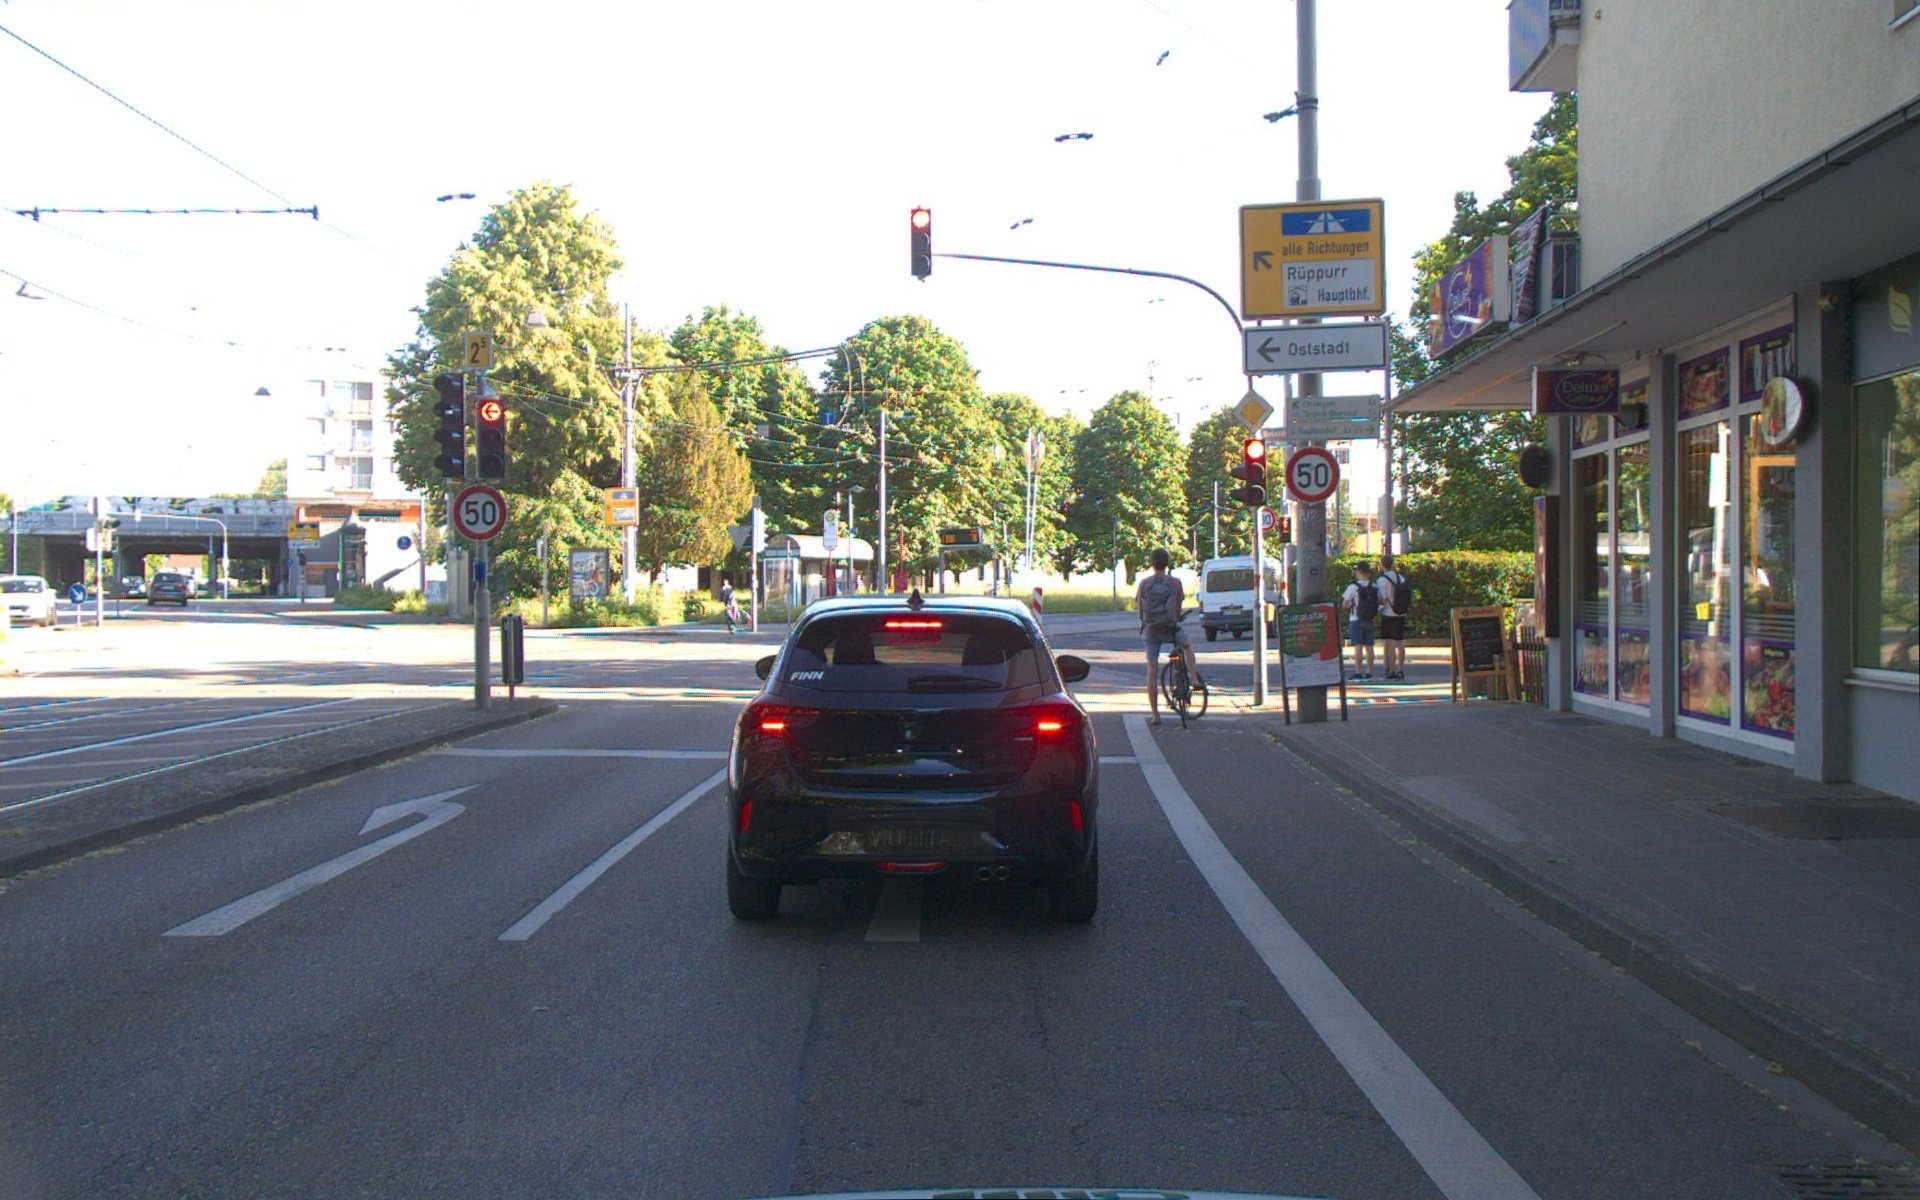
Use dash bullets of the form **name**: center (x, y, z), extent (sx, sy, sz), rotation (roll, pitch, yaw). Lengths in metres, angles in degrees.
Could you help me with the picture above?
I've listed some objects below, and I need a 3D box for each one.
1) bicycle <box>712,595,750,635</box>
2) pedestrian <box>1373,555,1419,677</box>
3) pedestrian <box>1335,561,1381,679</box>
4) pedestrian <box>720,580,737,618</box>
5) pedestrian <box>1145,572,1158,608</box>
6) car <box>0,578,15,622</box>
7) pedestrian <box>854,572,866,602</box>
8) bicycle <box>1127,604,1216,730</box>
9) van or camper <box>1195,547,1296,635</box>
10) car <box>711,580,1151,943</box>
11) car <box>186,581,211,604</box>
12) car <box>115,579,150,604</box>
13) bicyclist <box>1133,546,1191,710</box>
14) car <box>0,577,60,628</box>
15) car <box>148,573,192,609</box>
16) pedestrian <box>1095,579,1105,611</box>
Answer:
- **bicycle**: center (-6.367, 0.410, 46.153), extent (0.780, 1.083, 2.184), rotation (0, 1, -1)
- **pedestrian**: center (6.745, 0.240, 25.577), extent (0.620, 1.852, 0.745), rotation (1, -1, 19)
- **pedestrian**: center (6.160, 0.303, 25.615), extent (0.620, 1.794, 0.582), rotation (1, -1, 19)
- **pedestrian**: center (-9.035, -0.039, 64.631), extent (0.558, 1.498, 0.665), rotation (0, 0, -1)
- **pedestrian**: center (10.267, -0.548, 88.781), extent (0.591, 1.904, 0.519), rotation (1, -1, -1)
- **car**: center (-37.861, -0.004, 63.985), extent (1.774, 1.691, 4.324), rotation (-1, 1, -24)
- **pedestrian**: center (-6.343, -0.816, 104.931), extent (0.723, 1.904, 0.661), rotation (1, -1, -7)
- **bicycle**: center (2.317, 0.684, 17.924), extent (0.737, 1.256, 2.017), rotation (0, 1, 14)
- **van or camper**: center (8.072, -0.233, 46.426), extent (1.987, 2.351, 4.540), rotation (1, 0, 20)
- **car**: center (-0.145, 0.644, 8.793), extent (1.803, 1.487, 3.983), rotation (0, 1, -1)
- **car**: center (-59.250, -0.580, 128.768), extent (1.732, 1.713, 3.712), rotation (1, 0, -25)
- **car**: center (-55.450, -0.546, 110.827), extent (1.860, 1.613, 3.809), rotation (1, 0, -24)
- **bicyclist**: center (2.173, 0.294, 17.761), extent (0.522, 1.722, 0.568), rotation (0, 0, 16)
- **car**: center (-31.146, 0.065, 54.893), extent (1.860, 1.613, 3.809), rotation (1, 0, -24)
- **car**: center (-43.004, -0.484, 90.073), extent (1.883, 1.914, 4.812), rotation (-1, 1, -23)
- **pedestrian**: center (8.419, -0.282, 99.581), extent (0.591, 1.904, 0.520), rotation (1, -1, 7)
